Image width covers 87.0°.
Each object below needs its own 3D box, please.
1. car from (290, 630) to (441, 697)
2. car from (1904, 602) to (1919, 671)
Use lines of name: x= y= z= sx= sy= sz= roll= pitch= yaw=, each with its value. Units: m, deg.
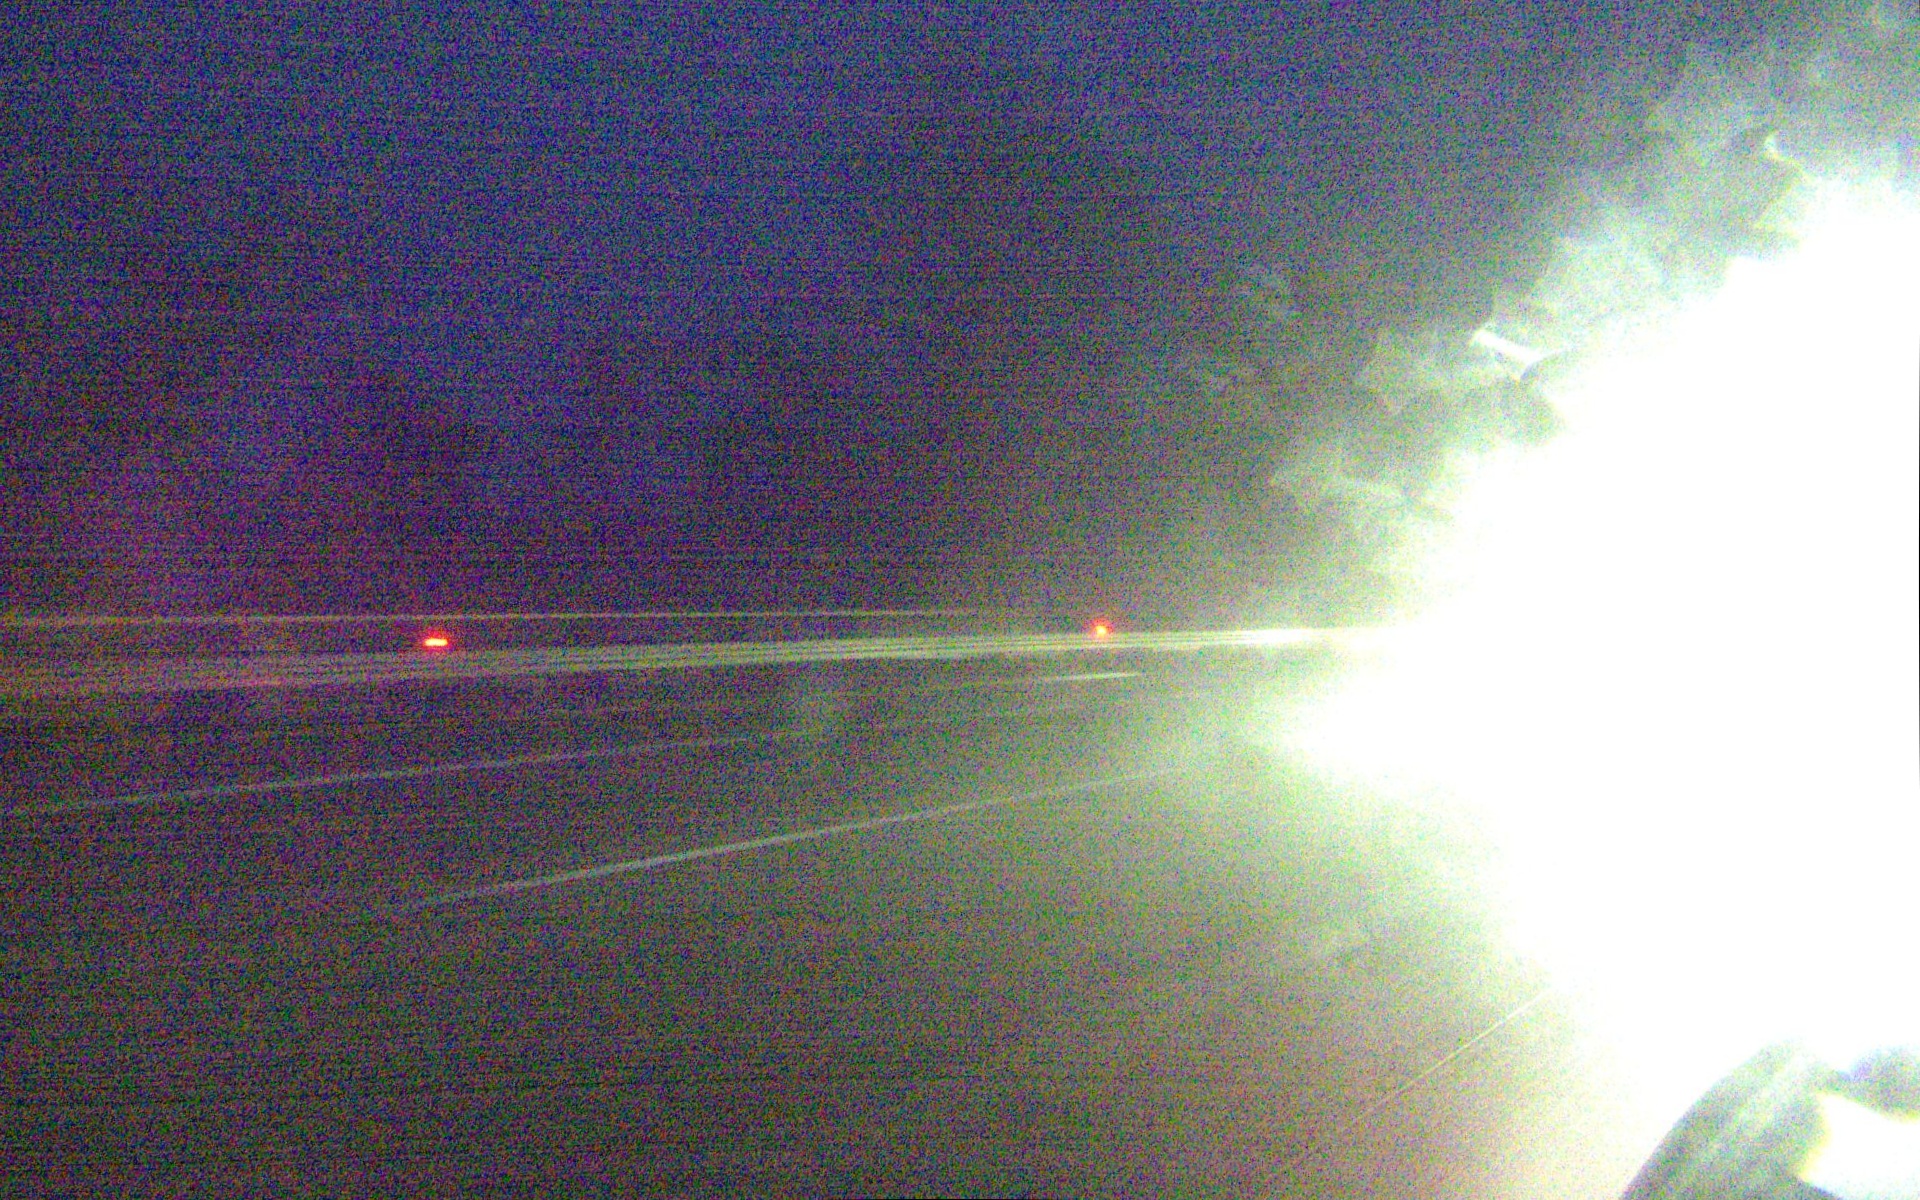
car: x=-19.128 y=2.010 z=32.784 sx=3.916 sy=2.040 sz=2.243 roll=1 pitch=-3 yaw=-23
car: x=24.675 y=0.880 z=24.686 sx=3.611 sy=1.646 sz=1.846 roll=2 pitch=-4 yaw=-39
